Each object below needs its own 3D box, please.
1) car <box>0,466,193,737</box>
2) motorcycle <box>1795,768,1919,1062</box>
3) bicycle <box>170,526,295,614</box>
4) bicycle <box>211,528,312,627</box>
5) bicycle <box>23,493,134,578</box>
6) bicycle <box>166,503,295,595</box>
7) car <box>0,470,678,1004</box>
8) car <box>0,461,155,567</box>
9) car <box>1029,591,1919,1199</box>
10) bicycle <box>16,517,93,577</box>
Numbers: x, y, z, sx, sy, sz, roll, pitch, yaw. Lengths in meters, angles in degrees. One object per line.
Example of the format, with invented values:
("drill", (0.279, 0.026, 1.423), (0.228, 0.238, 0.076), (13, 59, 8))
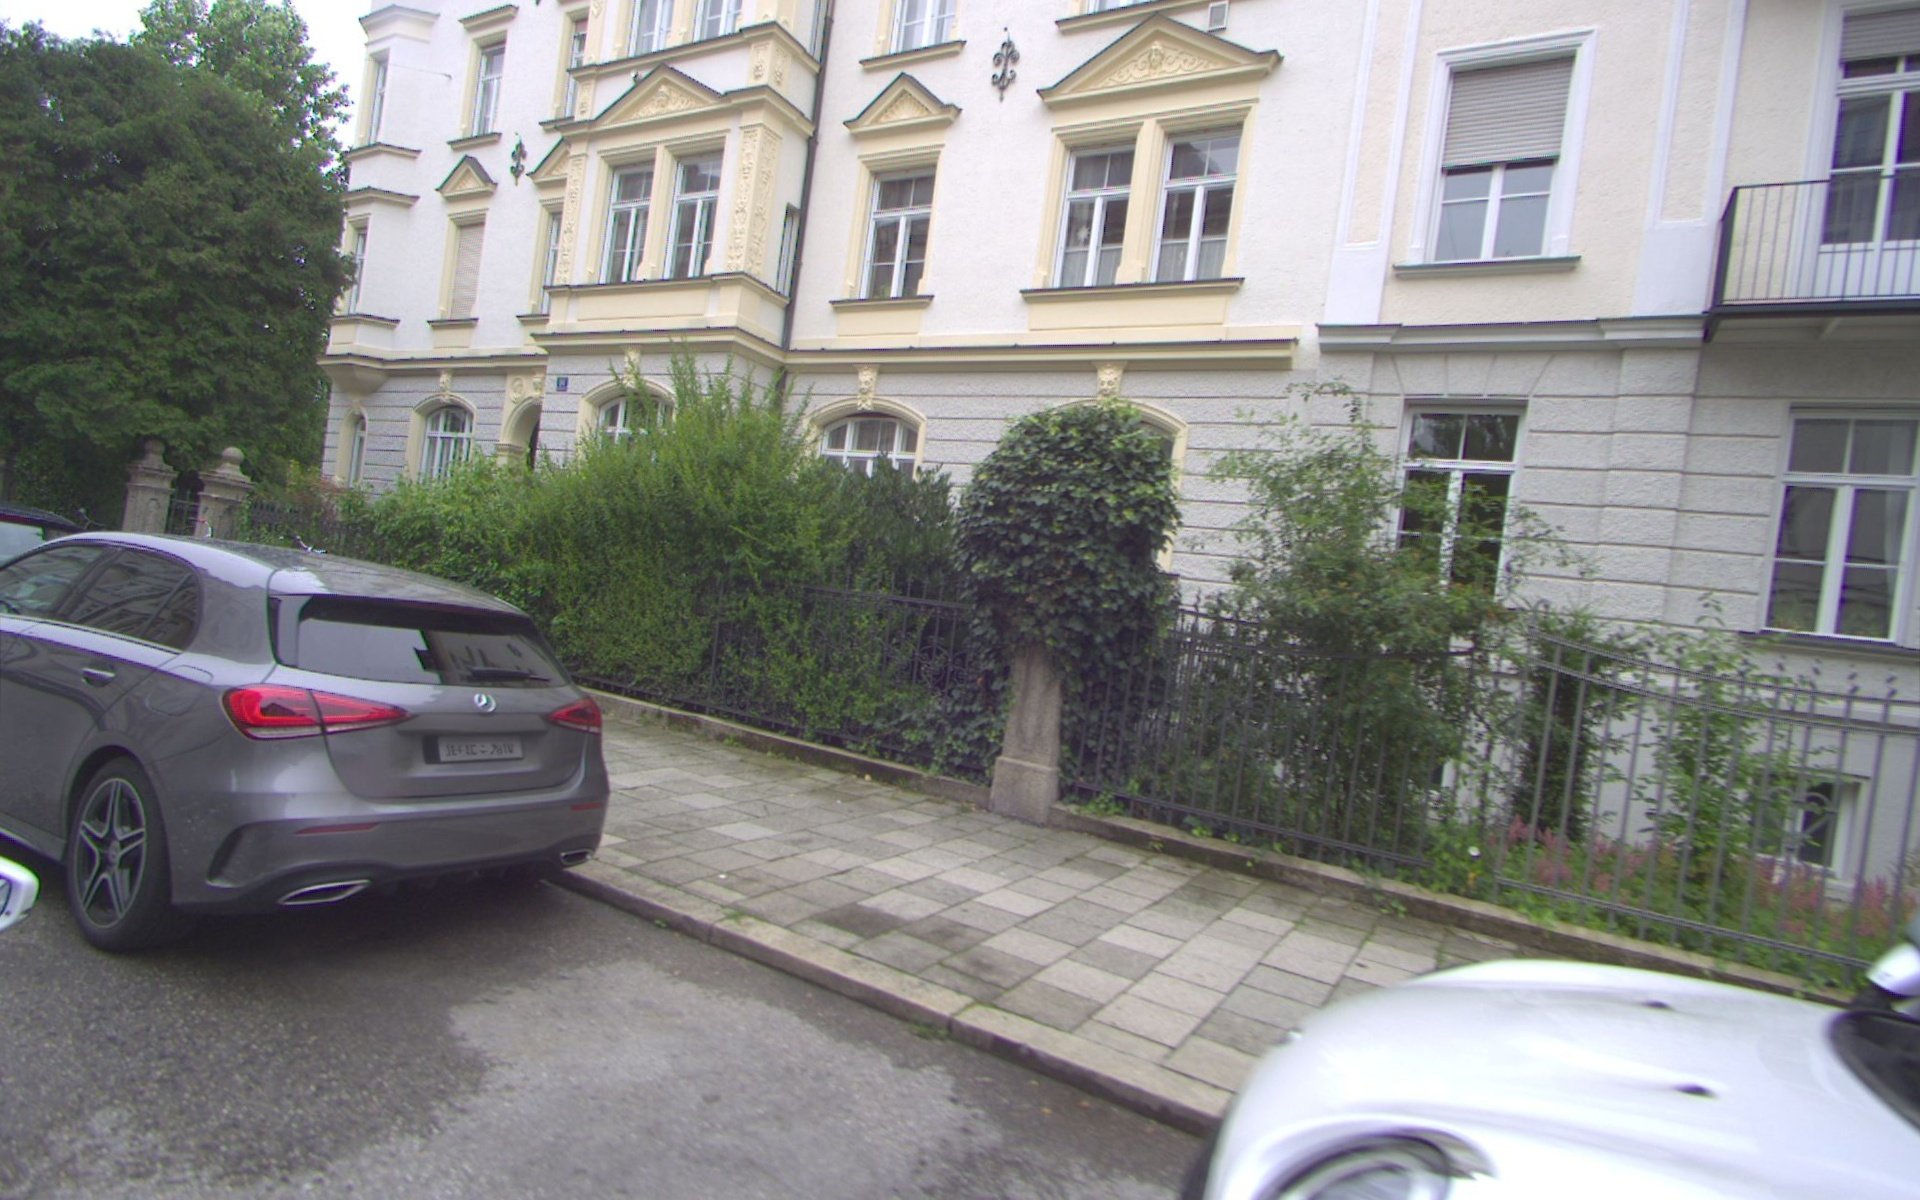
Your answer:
("car", (-7.670, -0.247, 7.127), (4.346, 1.629, 1.756), (8, -2, 28))
("motorcycle", (4.704, 1.434, 4.027), (1.933, 1.126, 0.607), (7, 0, 35))
("bicycle", (-10.566, -0.418, 14.653), (0.448, 1.112, 1.312), (7, 0, 29))
("bicycle", (-8.938, -0.295, 12.862), (1.291, 1.112, 0.455), (7, 0, 30))
("bicycle", (-13.469, -0.981, 15.373), (1.328, 1.108, 0.515), (8, 0, 13))
("bicycle", (-11.658, -0.786, 16.118), (0.481, 1.211, 1.492), (7, -3, 26))
("car", (-3.477, 0.324, 4.738), (3.949, 1.522, 1.688), (7, -1, 29))
("car", (-21.159, -2.052, 22.395), (1.869, 1.974, 4.541), (9, 1, 25))
("car", (2.238, 1.049, 1.061), (3.997, 1.522, 1.788), (7, -1, 31))
("bicycle", (-14.477, -0.845, 16.073), (1.332, 0.791, 0.513), (7, 0, 32))
